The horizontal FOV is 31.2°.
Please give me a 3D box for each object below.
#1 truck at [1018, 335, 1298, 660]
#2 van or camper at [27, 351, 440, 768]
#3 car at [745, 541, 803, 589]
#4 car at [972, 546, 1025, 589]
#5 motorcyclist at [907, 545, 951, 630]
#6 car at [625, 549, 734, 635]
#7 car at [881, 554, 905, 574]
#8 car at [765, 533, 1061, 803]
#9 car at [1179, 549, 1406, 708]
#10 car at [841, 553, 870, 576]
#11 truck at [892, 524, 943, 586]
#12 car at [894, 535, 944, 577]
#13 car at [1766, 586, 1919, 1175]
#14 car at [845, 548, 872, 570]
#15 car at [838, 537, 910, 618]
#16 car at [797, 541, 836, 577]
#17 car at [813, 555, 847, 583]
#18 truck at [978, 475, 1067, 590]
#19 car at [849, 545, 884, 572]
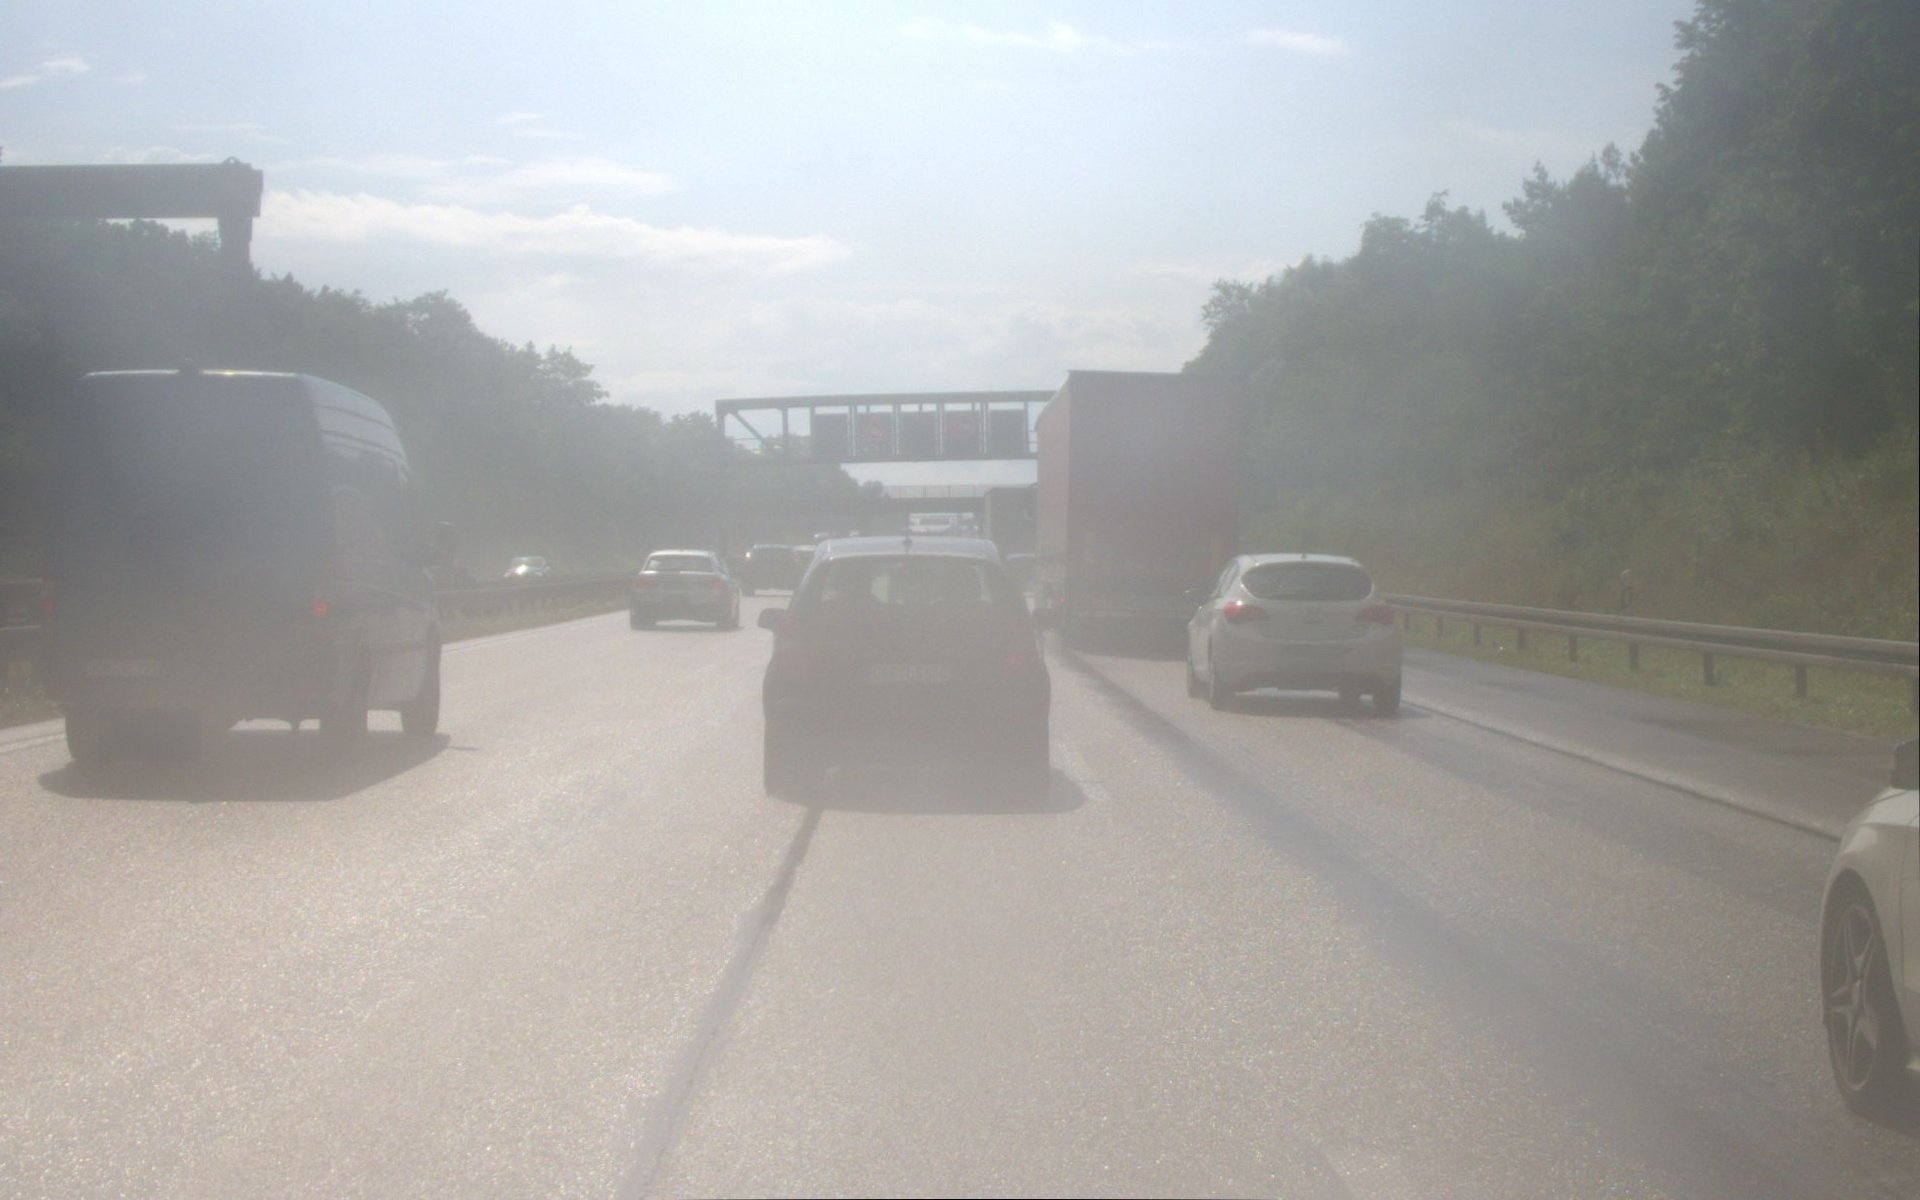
[{"bbox_3d":[3.044,-1.599,58.761,3.650,4.704,16.779,1,1,0],"label":"truck"},{"bbox_3d":[-5.085,-0.292,24.843,1.993,2.659,5.385,1,1,-2],"label":"van or camper"},{"bbox_3d":[-5.892,-1.111,109.042,1.751,1.452,3.390,1,1,-2],"label":"car"},{"bbox_3d":[1.242,-1.070,112.496,1.552,1.378,3.210,1,1,-2],"label":"car"},{"bbox_3d":[-0.602,-0.248,66.586,0.801,1.627,1.013,1,1,-2],"label":"motorcyclist"},{"bbox_3d":[-5.207,-0.165,64.222,1.854,1.546,3.485,1,1,-2],"label":"car"},{"bbox_3d":[-4.503,-2.422,231.439,1.549,1.262,3.485,1,1,-2],"label":"car"},{"bbox_3d":[-0.340,0.379,21.974,1.717,1.562,3.485,1,1,-2],"label":"car"},{"bbox_3d":[3.183,0.240,33.564,1.680,1.437,3.905,1,1,-2],"label":"car"},{"bbox_3d":[-5.775,-1.957,190.581,1.549,1.262,3.485,1,1,-2],"label":"car"},{"bbox_3d":[-2.012,-2.108,161.444,2.192,2.865,4.850,1,1,-2],"label":"truck"},{"bbox_3d":[-1.377,-1.462,114.170,1.552,1.378,3.210,1,1,-2],"label":"car"},{"bbox_3d":[3.191,0.706,7.801,1.692,1.420,4.220,1,1,0],"label":"car"},{"bbox_3d":[-5.985,-2.432,202.874,1.549,1.262,3.485,1,1,-2],"label":"car"},{"bbox_3d":[-1.921,-0.515,76.228,1.531,1.740,3.485,1,1,-2],"label":"car"},{"bbox_3d":[-5.631,-1.623,135.164,1.460,1.389,3.312,1,1,-2],"label":"car"},{"bbox_3d":[-6.072,-1.432,160.302,1.549,1.262,3.485,1,1,-2],"label":"car"},{"bbox_3d":[2.478,-2.712,140.370,3.256,4.464,12.421,1,1,0],"label":"truck"},{"bbox_3d":[-5.886,-2.620,217.243,1.993,1.695,4.000,0,1,1],"label":"car"}]
